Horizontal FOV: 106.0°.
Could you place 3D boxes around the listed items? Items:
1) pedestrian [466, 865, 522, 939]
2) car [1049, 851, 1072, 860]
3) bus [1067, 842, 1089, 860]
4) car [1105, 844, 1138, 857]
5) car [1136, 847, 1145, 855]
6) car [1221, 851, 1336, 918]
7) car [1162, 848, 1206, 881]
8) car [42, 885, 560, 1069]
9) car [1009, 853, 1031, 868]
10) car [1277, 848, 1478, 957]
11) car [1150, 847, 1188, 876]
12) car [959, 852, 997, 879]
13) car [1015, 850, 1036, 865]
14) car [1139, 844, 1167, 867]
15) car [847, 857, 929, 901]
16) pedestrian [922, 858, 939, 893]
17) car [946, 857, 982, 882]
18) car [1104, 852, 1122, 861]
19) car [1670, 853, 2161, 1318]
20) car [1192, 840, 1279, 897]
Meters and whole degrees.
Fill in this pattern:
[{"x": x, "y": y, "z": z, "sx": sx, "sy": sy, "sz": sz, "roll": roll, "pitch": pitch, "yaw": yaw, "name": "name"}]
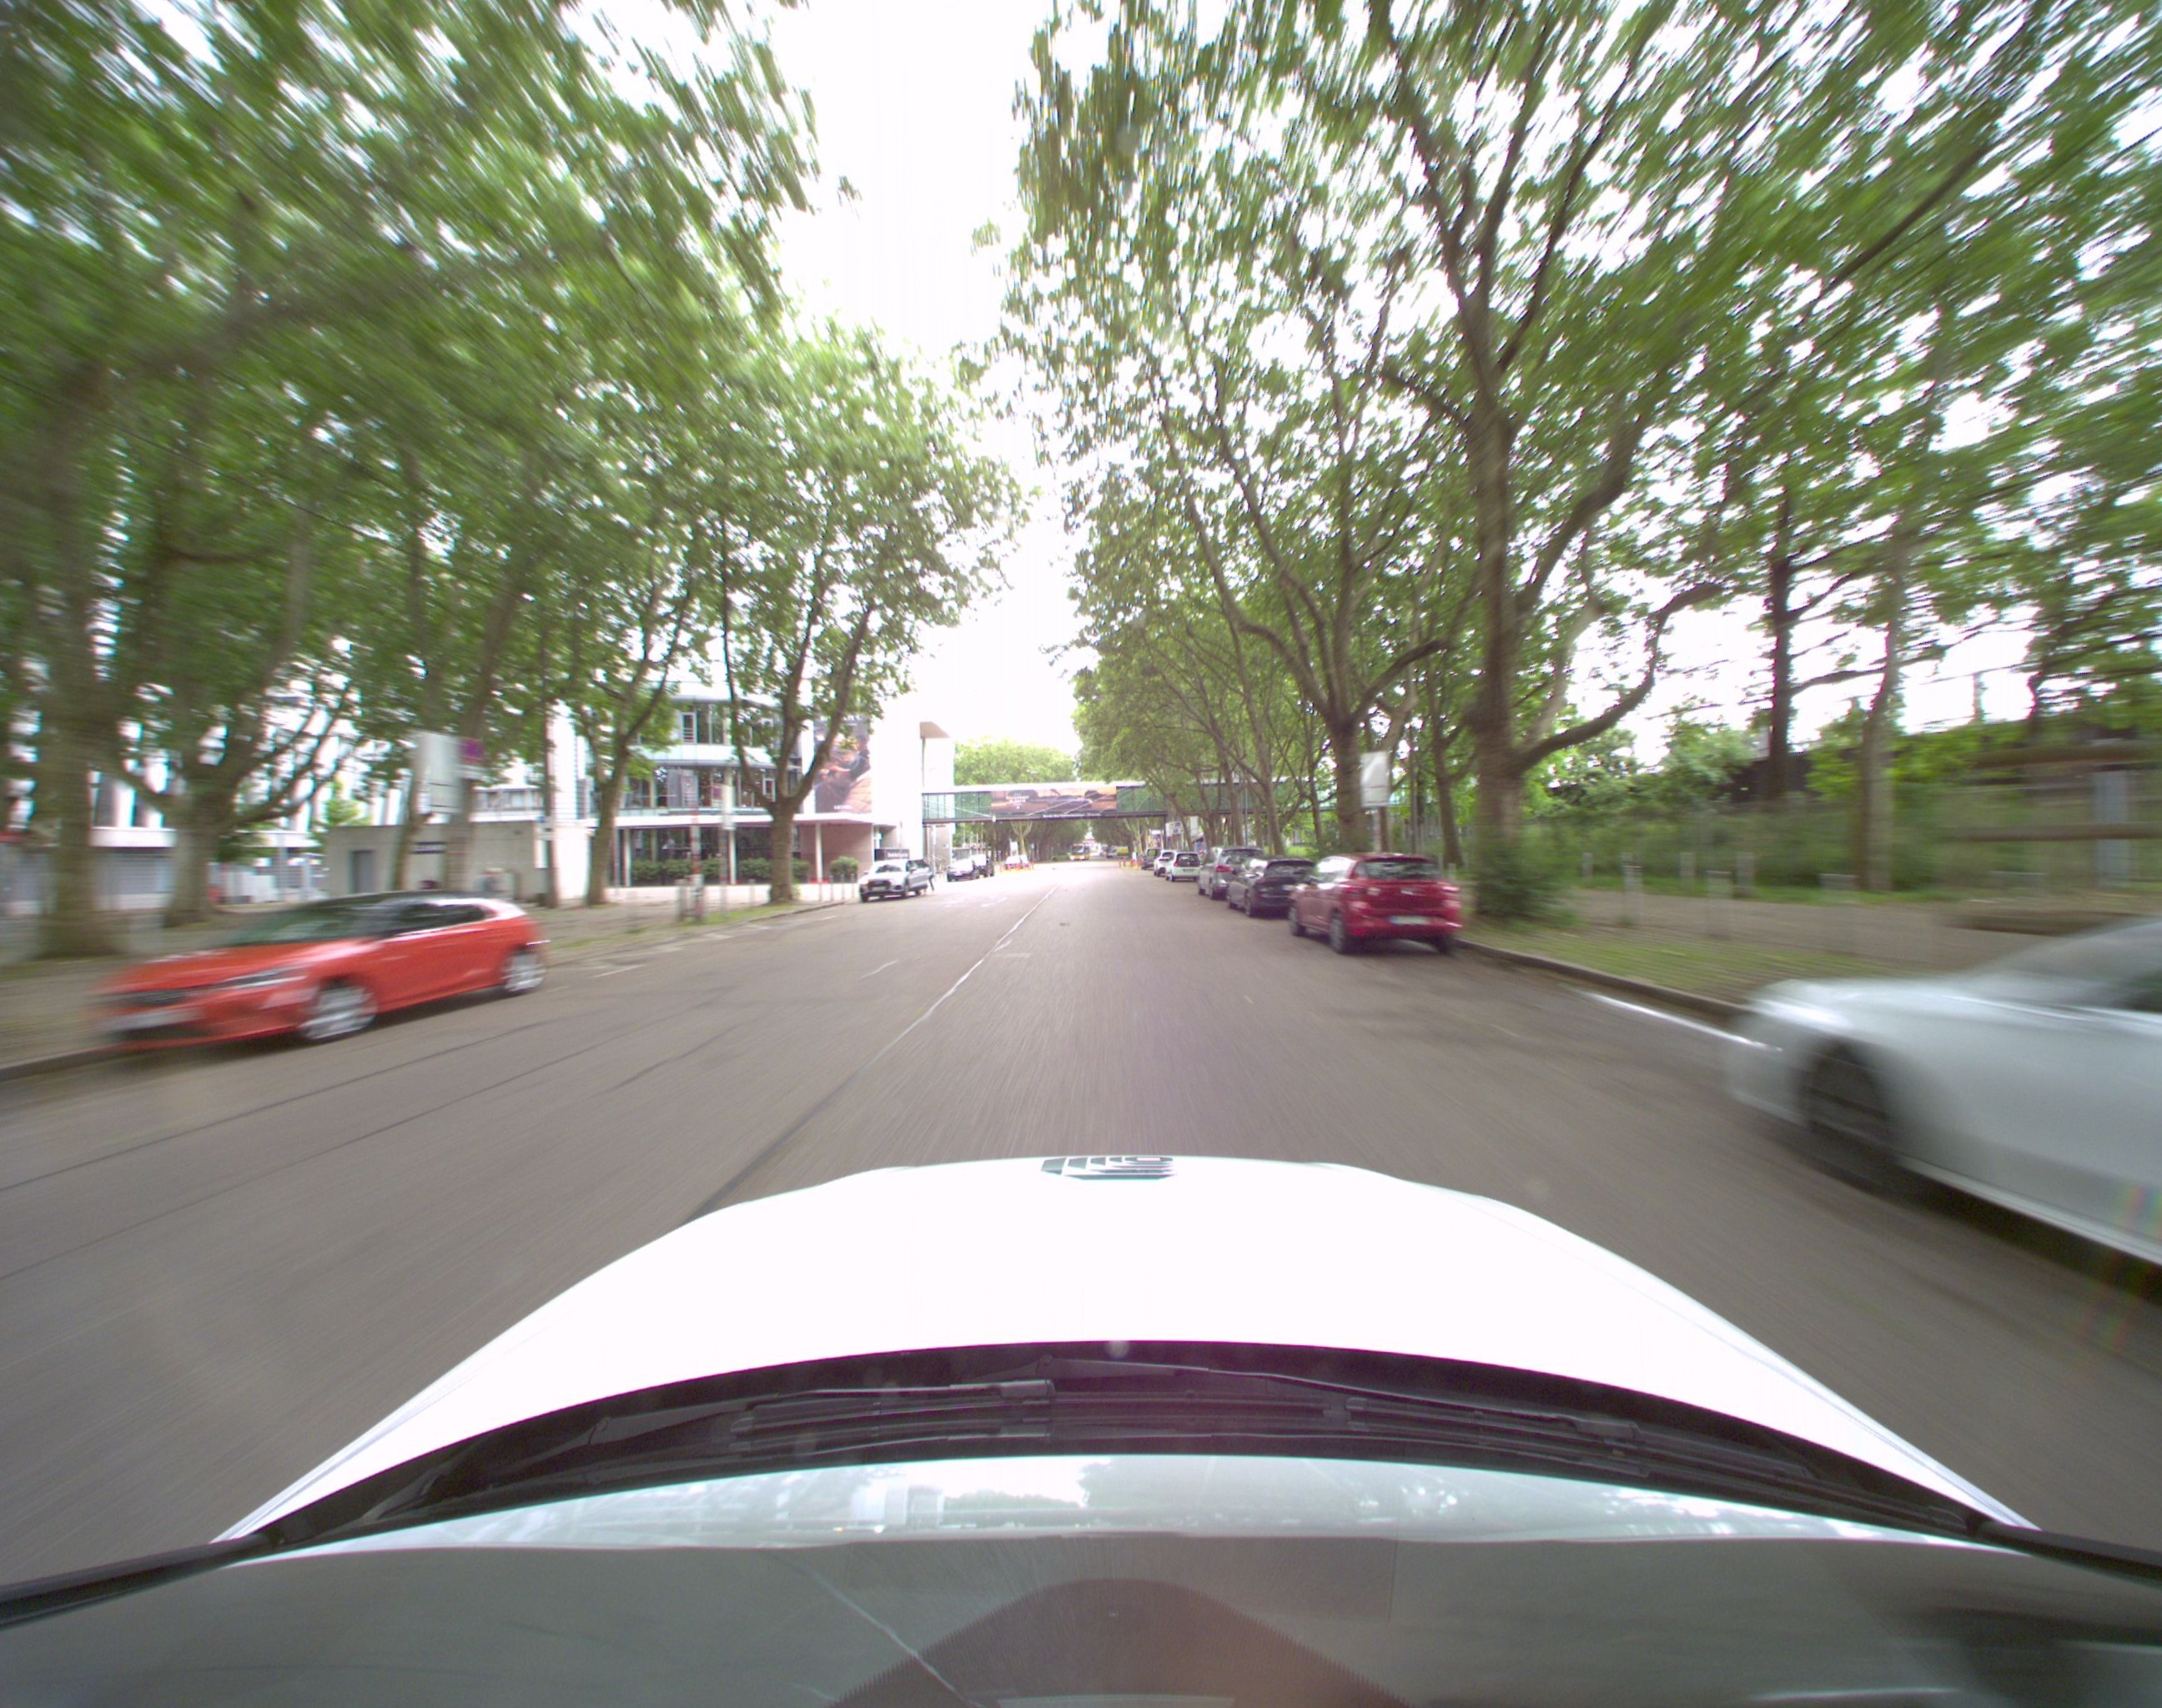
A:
[{"x": -13.287, "y": 1.079, "z": 18.443, "sx": 0.588, "sy": 1.620, "sz": 0.794, "roll": -2, "pitch": 0, "yaw": 10, "name": "pedestrian"}, {"x": -4.189, "y": 0.329, "z": 166.313, "sx": 4.682, "sy": 1.584, "sz": 1.865, "roll": -2, "pitch": 0, "yaw": 1, "name": "car"}, {"x": -0.467, "y": -0.501, "z": 159.205, "sx": 3.025, "sy": 3.160, "sz": 12.692, "roll": -4, "pitch": 0, "yaw": 4, "name": "bus"}, {"x": 8.759, "y": -0.771, "z": 176.347, "sx": 6.804, "sy": 2.513, "sz": 2.315, "roll": -2, "pitch": 0, "yaw": -1, "name": "car"}, {"x": 13.778, "y": -0.716, "z": 189.228, "sx": 1.986, "sy": 1.772, "sz": 4.001, "roll": -2, "pitch": 0, "yaw": 1, "name": "car"}, {"x": 4.746, "y": 0.661, "z": 20.207, "sx": 1.870, "sy": 1.427, "sz": 4.481, "roll": -2, "pitch": 0, "yaw": 2, "name": "car"}, {"x": 5.225, "y": 0.514, "z": 41.669, "sx": 1.801, "sy": 1.526, "sz": 4.097, "roll": -2, "pitch": 0, "yaw": 1, "name": "car"}, {"x": -8.044, "y": 1.143, "z": 9.063, "sx": 1.802, "sy": 1.354, "sz": 4.001, "roll": -2, "pitch": 0, "yaw": 1, "name": "car"}, {"x": -6.783, "y": 0.752, "z": 90.814, "sx": 1.851, "sy": 1.453, "sz": 4.450, "roll": -5, "pitch": 0, "yaw": 1, "name": "car"}, {"x": 4.671, "y": 0.671, "z": 13.533, "sx": 1.850, "sy": 1.481, "sz": 4.178, "roll": -2, "pitch": 0, "yaw": 1, "name": "car"}, {"x": 5.345, "y": 0.450, "z": 49.851, "sx": 1.907, "sy": 1.618, "sz": 4.750, "roll": -2, "pitch": 0, "yaw": 1, "name": "car"}, {"x": -7.791, "y": 0.849, "z": 62.127, "sx": 2.027, "sy": 1.789, "sz": 4.909, "roll": -5, "pitch": 0, "yaw": 1, "name": "car"}, {"x": -6.796, "y": 0.410, "z": 99.891, "sx": 1.986, "sy": 1.584, "sz": 4.114, "roll": -5, "pitch": 0, "yaw": 1, "name": "car"}, {"x": 5.803, "y": 0.112, "z": 66.093, "sx": 1.841, "sy": 1.783, "sz": 5.212, "roll": -1, "pitch": 0, "yaw": 1, "name": "car"}, {"x": -7.756, "y": 0.963, "z": 33.277, "sx": 2.066, "sy": 1.563, "sz": 4.757, "roll": -2, "pitch": 0, "yaw": 1, "name": "car"}, {"x": -6.369, "y": 0.901, "z": 34.502, "sx": 0.581, "sy": 1.466, "sz": 0.568, "roll": -1, "pitch": 0, "yaw": 4, "name": "pedestrian"}, {"x": -8.028, "y": 1.038, "z": 56.200, "sx": 1.698, "sy": 1.419, "sz": 4.326, "roll": -4, "pitch": 0, "yaw": 1, "name": "car"}, {"x": 7.261, "y": 0.513, "z": 183.808, "sx": 3.974, "sy": 1.794, "sz": 1.543, "roll": -2, "pitch": 0, "yaw": 0, "name": "car"}, {"x": 4.375, "y": 0.745, "z": 2.467, "sx": 1.871, "sy": 1.427, "sz": 4.586, "roll": -2, "pitch": 0, "yaw": 0, "name": "car"}, {"x": 5.016, "y": 0.438, "z": 27.106, "sx": 1.975, "sy": 1.680, "sz": 4.731, "roll": -2, "pitch": 0, "yaw": 0, "name": "car"}]
